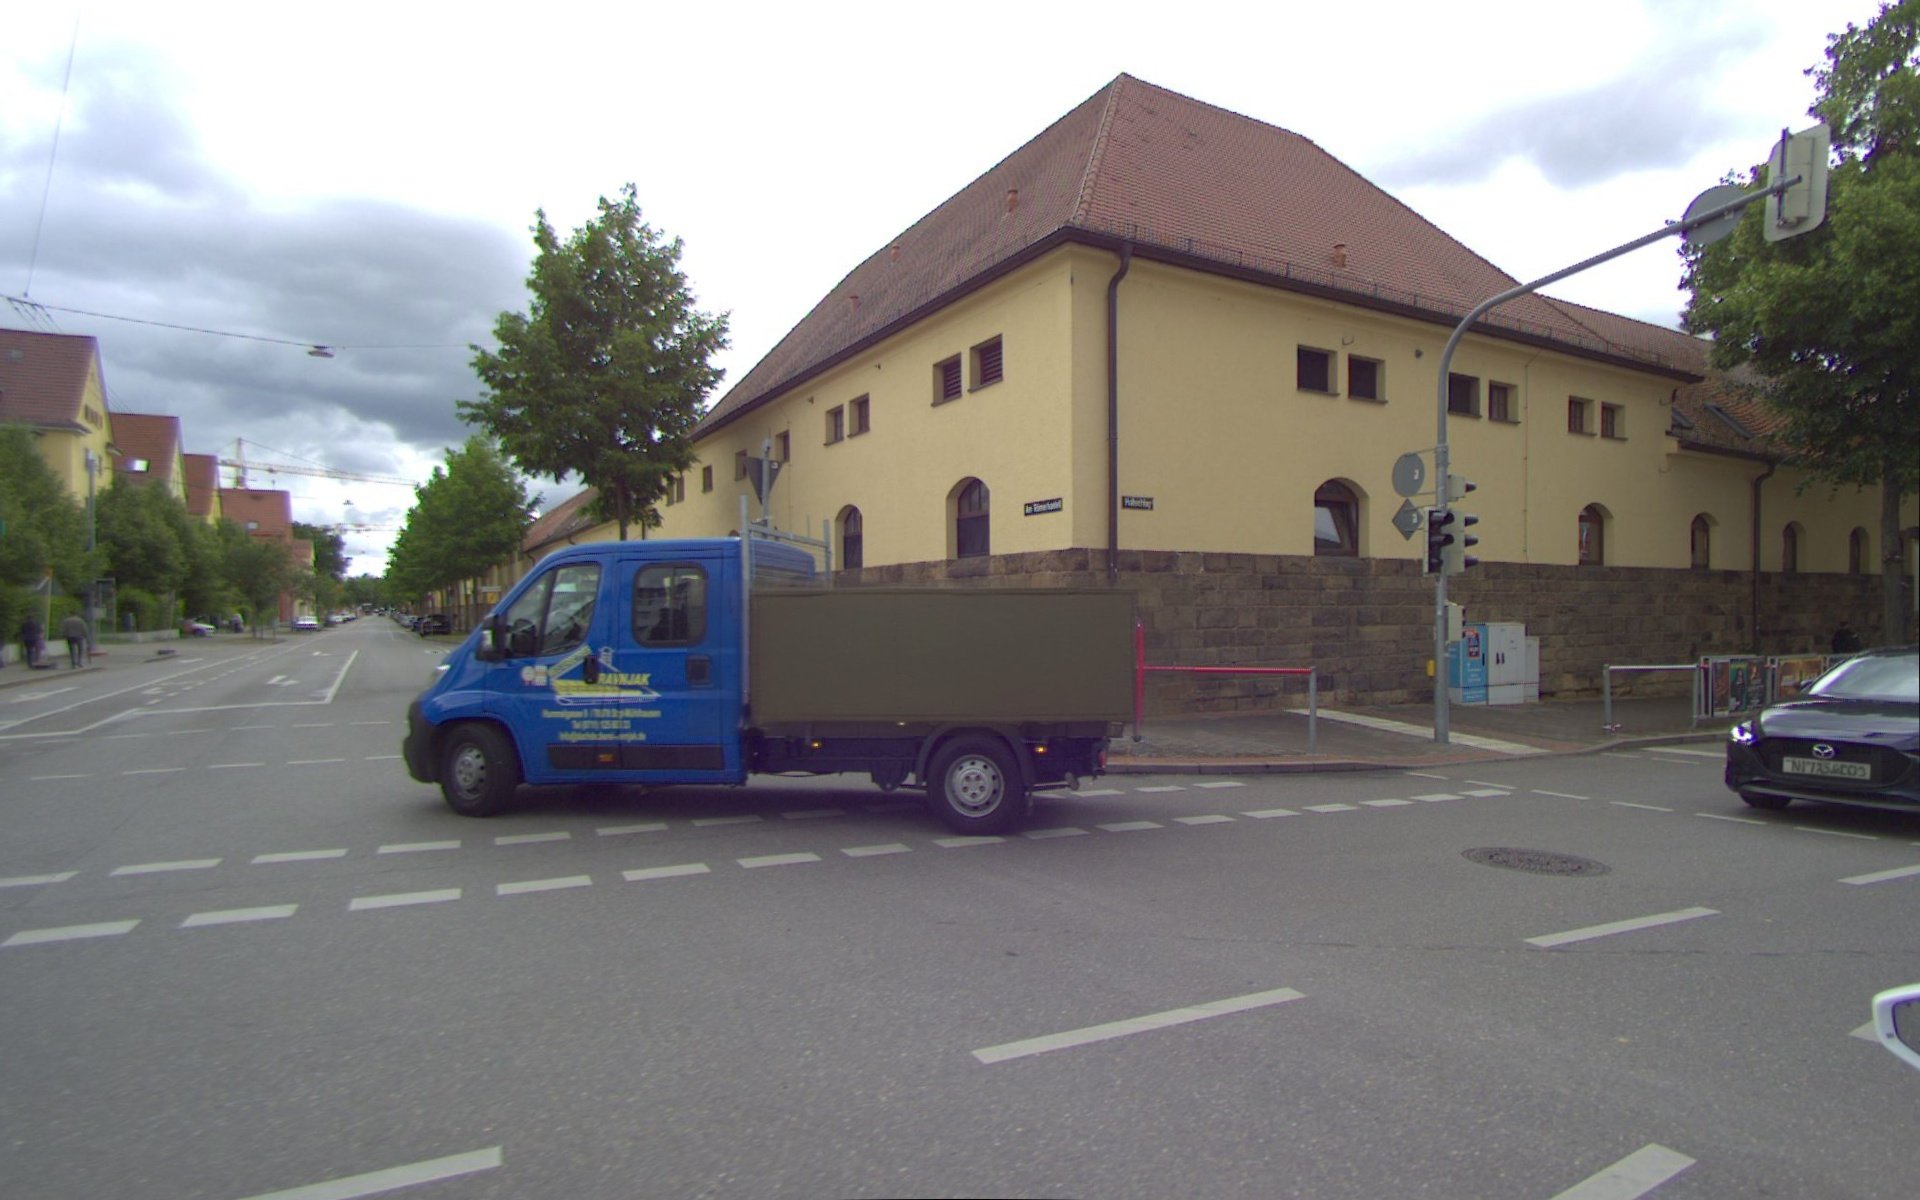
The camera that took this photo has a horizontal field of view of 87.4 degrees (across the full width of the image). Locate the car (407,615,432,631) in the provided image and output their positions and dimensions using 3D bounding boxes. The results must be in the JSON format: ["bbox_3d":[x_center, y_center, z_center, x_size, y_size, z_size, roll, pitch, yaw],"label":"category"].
[{"bbox_3d":[-55.614,2.329,103.382,1.829,1.559,3.961,2,-1,-34],"label":"car"}]

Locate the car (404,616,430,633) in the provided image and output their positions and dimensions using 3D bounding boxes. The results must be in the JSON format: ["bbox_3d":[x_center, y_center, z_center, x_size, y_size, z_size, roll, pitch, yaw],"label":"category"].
[{"bbox_3d":[-52.621,2.335,97.351,1.829,1.559,3.961,2,-1,-34],"label":"car"}]

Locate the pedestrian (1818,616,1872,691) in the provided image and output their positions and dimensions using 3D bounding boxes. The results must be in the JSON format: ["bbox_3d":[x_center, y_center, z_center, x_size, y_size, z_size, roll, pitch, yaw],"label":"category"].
[{"bbox_3d":[22.013,1.310,24.985,0.865,1.818,0.773,1,0,-30],"label":"pedestrian"}]

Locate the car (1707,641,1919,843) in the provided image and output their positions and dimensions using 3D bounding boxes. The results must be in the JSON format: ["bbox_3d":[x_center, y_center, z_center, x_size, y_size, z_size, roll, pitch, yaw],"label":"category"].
[{"bbox_3d":[8.501,1.091,8.670,4.139,1.433,1.696,1,-2,-28],"label":"car"}]

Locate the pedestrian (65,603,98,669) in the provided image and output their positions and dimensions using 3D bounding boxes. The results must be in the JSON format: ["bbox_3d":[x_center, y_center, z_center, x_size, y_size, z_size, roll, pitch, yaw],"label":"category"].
[{"bbox_3d":[-27.489,1.122,31.440,0.677,2.040,0.680,1,0,-37],"label":"pedestrian"}]

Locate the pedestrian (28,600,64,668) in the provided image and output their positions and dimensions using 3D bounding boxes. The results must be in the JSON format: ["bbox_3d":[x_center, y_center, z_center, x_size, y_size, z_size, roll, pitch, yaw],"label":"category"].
[{"bbox_3d":[-27.942,1.036,30.716,0.677,2.040,0.681,1,0,-33],"label":"pedestrian"}]

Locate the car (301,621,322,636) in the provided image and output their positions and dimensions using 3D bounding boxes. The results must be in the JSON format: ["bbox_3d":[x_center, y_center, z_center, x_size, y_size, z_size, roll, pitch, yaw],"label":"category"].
[{"bbox_3d":[-65.347,2.885,101.192,1.688,1.488,3.961,2,-2,-35],"label":"car"}]

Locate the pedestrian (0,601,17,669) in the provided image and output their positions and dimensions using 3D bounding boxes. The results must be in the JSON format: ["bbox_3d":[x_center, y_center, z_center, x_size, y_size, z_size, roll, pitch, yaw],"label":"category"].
[{"bbox_3d":[-28.997,1.041,30.321,0.678,2.040,0.680,1,0,-38],"label":"pedestrian"}]

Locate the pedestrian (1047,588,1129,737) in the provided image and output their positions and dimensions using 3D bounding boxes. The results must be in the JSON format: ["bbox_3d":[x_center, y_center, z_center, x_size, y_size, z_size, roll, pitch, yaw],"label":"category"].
[{"bbox_3d":[1.606,0.766,12.639,0.833,1.800,0.561,1,0,-31],"label":"pedestrian"}]

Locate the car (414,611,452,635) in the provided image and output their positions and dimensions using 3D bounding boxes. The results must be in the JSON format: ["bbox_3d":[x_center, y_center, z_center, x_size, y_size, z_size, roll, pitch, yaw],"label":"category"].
[{"bbox_3d":[-36.541,1.583,69.589,1.829,1.559,3.961,2,-1,-34],"label":"car"}]

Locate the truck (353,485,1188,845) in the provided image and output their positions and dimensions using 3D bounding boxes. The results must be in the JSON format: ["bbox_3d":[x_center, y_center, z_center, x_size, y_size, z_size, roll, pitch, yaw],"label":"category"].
[{"bbox_3d":[-1.390,0.458,8.454,6.281,2.459,2.305,0,-2,8],"label":"truck"}]

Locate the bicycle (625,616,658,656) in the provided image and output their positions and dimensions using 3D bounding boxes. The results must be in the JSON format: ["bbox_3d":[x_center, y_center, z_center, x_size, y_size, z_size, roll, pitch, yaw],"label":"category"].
[{"bbox_3d":[-10.986,1.222,34.613,0.509,1.283,2.303,1,0,-32],"label":"bicycle"}]
